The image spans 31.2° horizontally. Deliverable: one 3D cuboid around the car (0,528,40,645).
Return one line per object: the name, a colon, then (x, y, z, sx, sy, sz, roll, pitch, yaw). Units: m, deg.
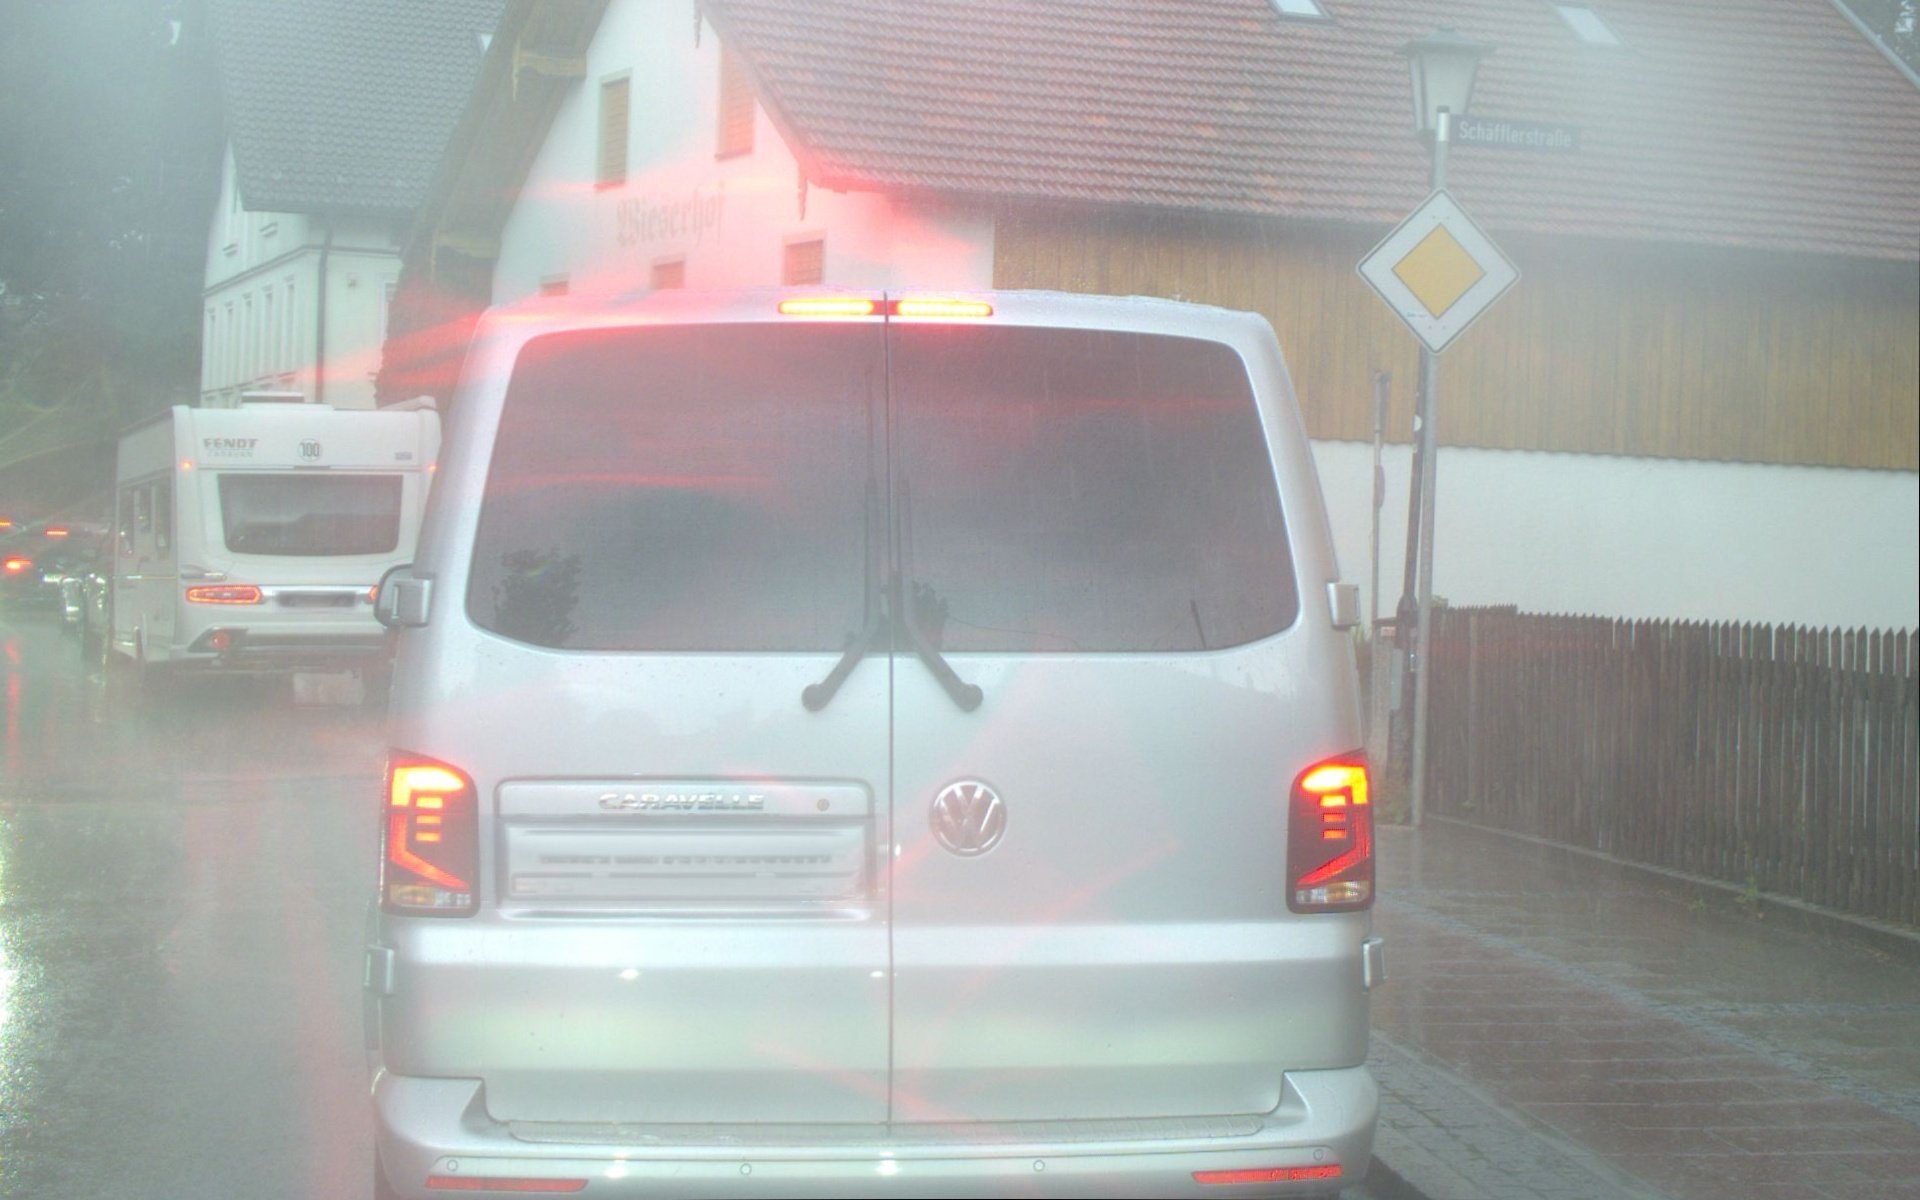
car: (-17.557, -0.316, 60.301, 2.168, 1.892, 5.016, 2, 1, -21)

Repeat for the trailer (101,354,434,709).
trailer: (-6.436, -0.604, 31.336, 2.270, 2.894, 6.134, 1, 1, -18)

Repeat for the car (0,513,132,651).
car: (-14.066, -0.326, 52.268, 2.168, 1.892, 5.016, 2, 1, -21)

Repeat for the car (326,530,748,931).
car: (-2.019, 0.489, 16.562, 1.708, 1.578, 4.687, -1, 2, -7)

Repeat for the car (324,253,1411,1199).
car: (-0.219, 0.381, 8.191, 1.776, 1.956, 5.074, 0, 1, -2)
